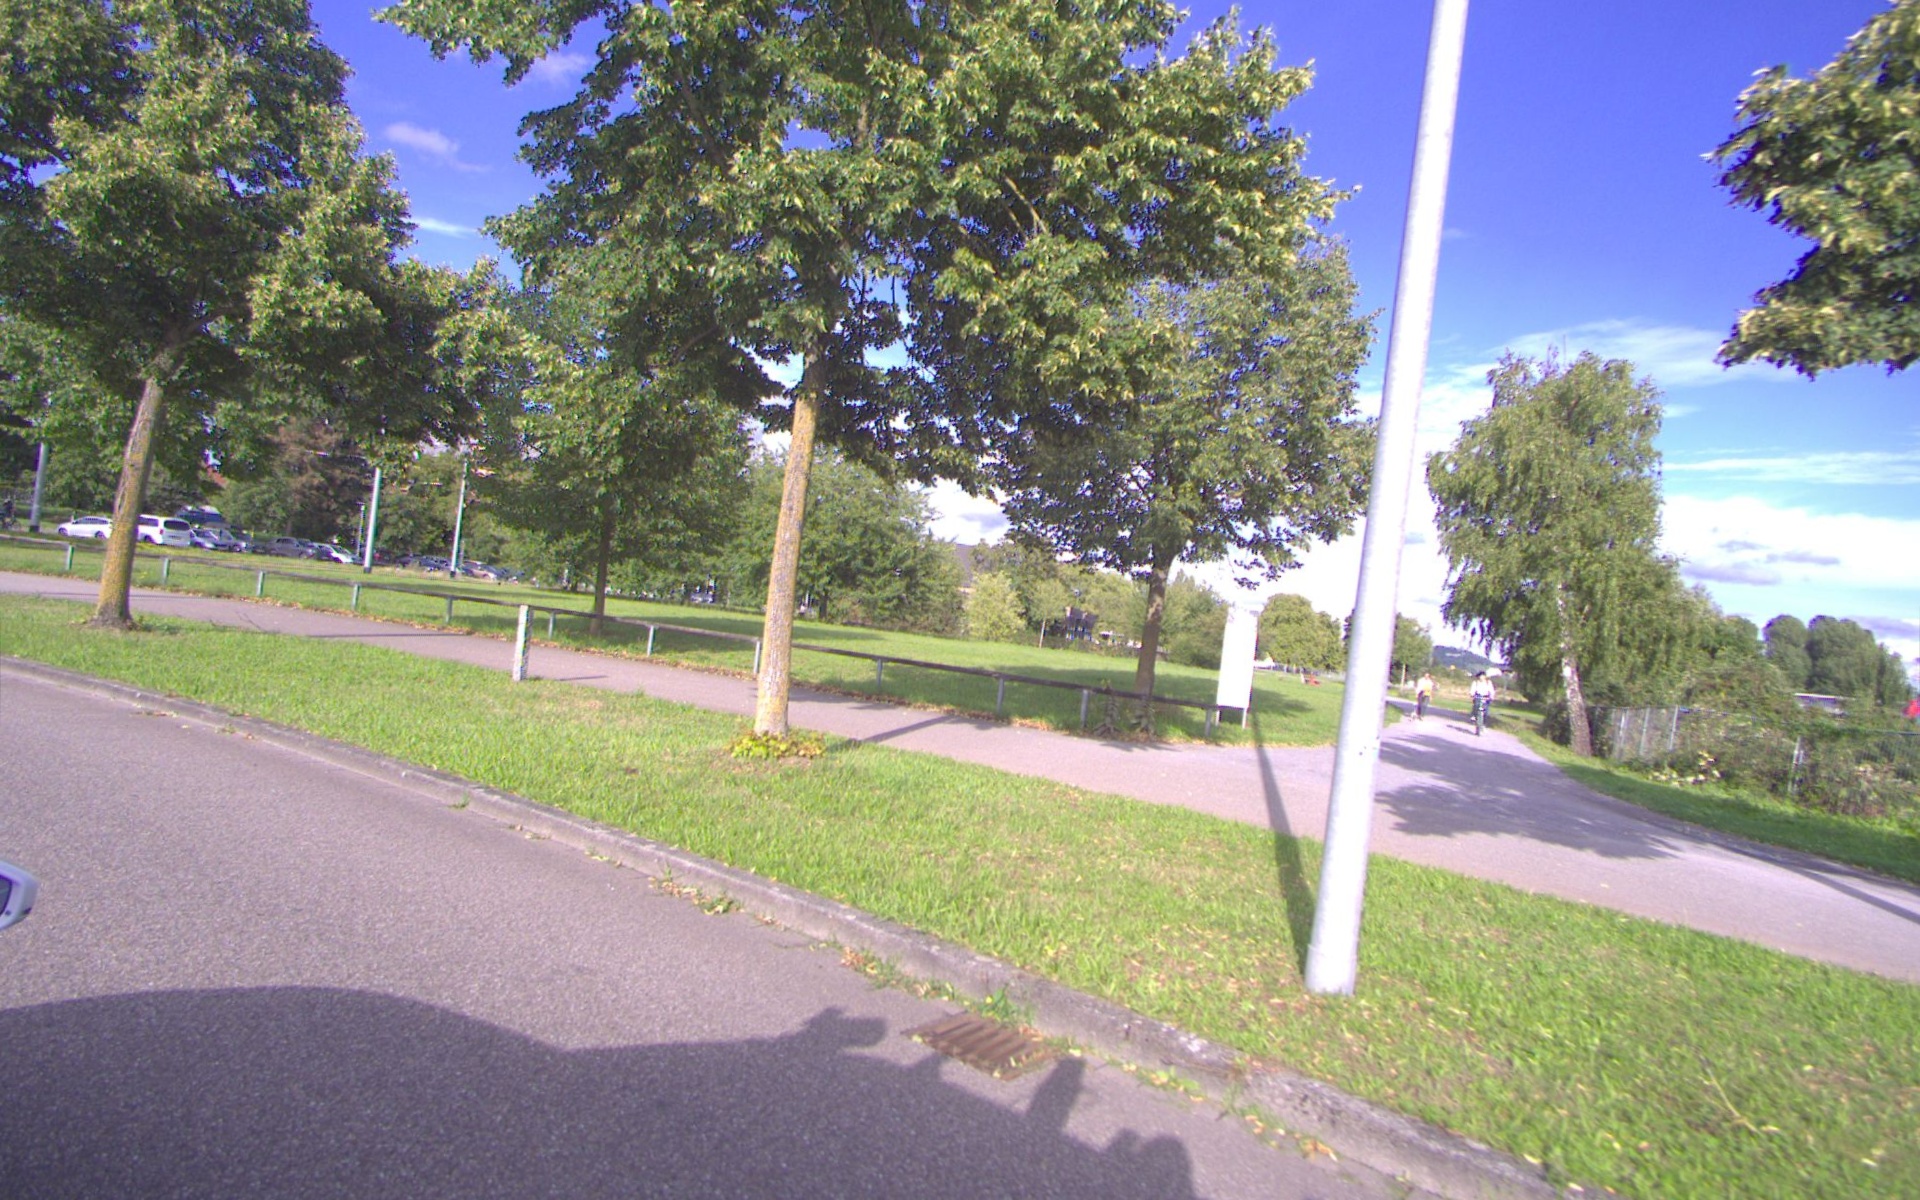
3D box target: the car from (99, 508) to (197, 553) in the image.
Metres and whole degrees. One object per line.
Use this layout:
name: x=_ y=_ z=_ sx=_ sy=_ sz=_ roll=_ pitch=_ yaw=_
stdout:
car: x=-48.507 y=-4.144 z=60.104 sx=5.019 sy=2.031 sz=2.317 roll=6 pitch=-1 yaw=22

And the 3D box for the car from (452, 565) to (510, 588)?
car: x=-40.814 y=-2.003 z=85.716 sx=4.387 sy=1.471 sz=1.859 roll=6 pitch=-1 yaw=22

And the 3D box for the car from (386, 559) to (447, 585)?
car: x=-42.989 y=-2.205 z=79.560 sx=4.387 sy=1.534 sz=1.803 roll=6 pitch=-1 yaw=22

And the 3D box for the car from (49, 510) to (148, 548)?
car: x=-49.114 y=-4.052 z=57.363 sx=4.383 sy=1.534 sz=1.863 roll=7 pitch=-1 yaw=11

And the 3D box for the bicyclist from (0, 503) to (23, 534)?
bicyclist: x=-45.447 y=-3.902 z=47.915 sx=0.703 sy=1.371 sz=1.003 roll=7 pitch=0 yaw=-12

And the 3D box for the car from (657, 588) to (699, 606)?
car: x=-31.972 y=-0.342 z=113.981 sx=4.393 sy=1.559 sz=1.857 roll=6 pitch=-1 yaw=29

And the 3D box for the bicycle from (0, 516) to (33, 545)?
bicycle: x=-45.500 y=-3.361 z=47.907 sx=0.703 sy=1.237 sz=2.523 roll=7 pitch=-1 yaw=-12

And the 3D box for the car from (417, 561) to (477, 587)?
car: x=-41.761 y=-2.122 z=81.898 sx=4.387 sy=1.559 sz=1.859 roll=6 pitch=-1 yaw=22

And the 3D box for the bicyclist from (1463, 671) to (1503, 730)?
bicyclist: x=14.992 y=2.859 z=28.861 sx=0.789 sy=1.566 sz=0.904 roll=6 pitch=0 yaw=23

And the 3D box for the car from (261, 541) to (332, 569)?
car: x=-45.761 y=-3.101 z=69.408 sx=4.387 sy=1.415 sz=1.861 roll=6 pitch=-1 yaw=22

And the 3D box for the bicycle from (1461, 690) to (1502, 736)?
bicycle: x=14.956 y=3.219 z=28.889 sx=0.789 sy=1.139 sz=2.600 roll=6 pitch=-1 yaw=25

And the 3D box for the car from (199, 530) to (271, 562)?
car: x=-46.953 y=-3.501 z=65.155 sx=4.040 sy=1.534 sz=2.035 roll=6 pitch=-1 yaw=27

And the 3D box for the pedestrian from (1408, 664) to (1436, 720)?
pedestrian: x=15.331 y=3.038 z=33.394 sx=0.656 sy=1.753 sz=0.597 roll=6 pitch=0 yaw=26

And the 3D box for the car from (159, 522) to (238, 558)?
car: x=-47.764 y=-3.737 z=63.097 sx=4.390 sy=1.694 sz=2.101 roll=6 pitch=-1 yaw=27

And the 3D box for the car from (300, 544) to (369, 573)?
car: x=-44.708 y=-2.947 z=71.941 sx=4.387 sy=1.522 sz=1.861 roll=6 pitch=-1 yaw=22

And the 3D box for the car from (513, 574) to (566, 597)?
car: x=-39.003 y=-1.361 z=93.261 sx=4.387 sy=1.559 sz=1.859 roll=6 pitch=-1 yaw=22
